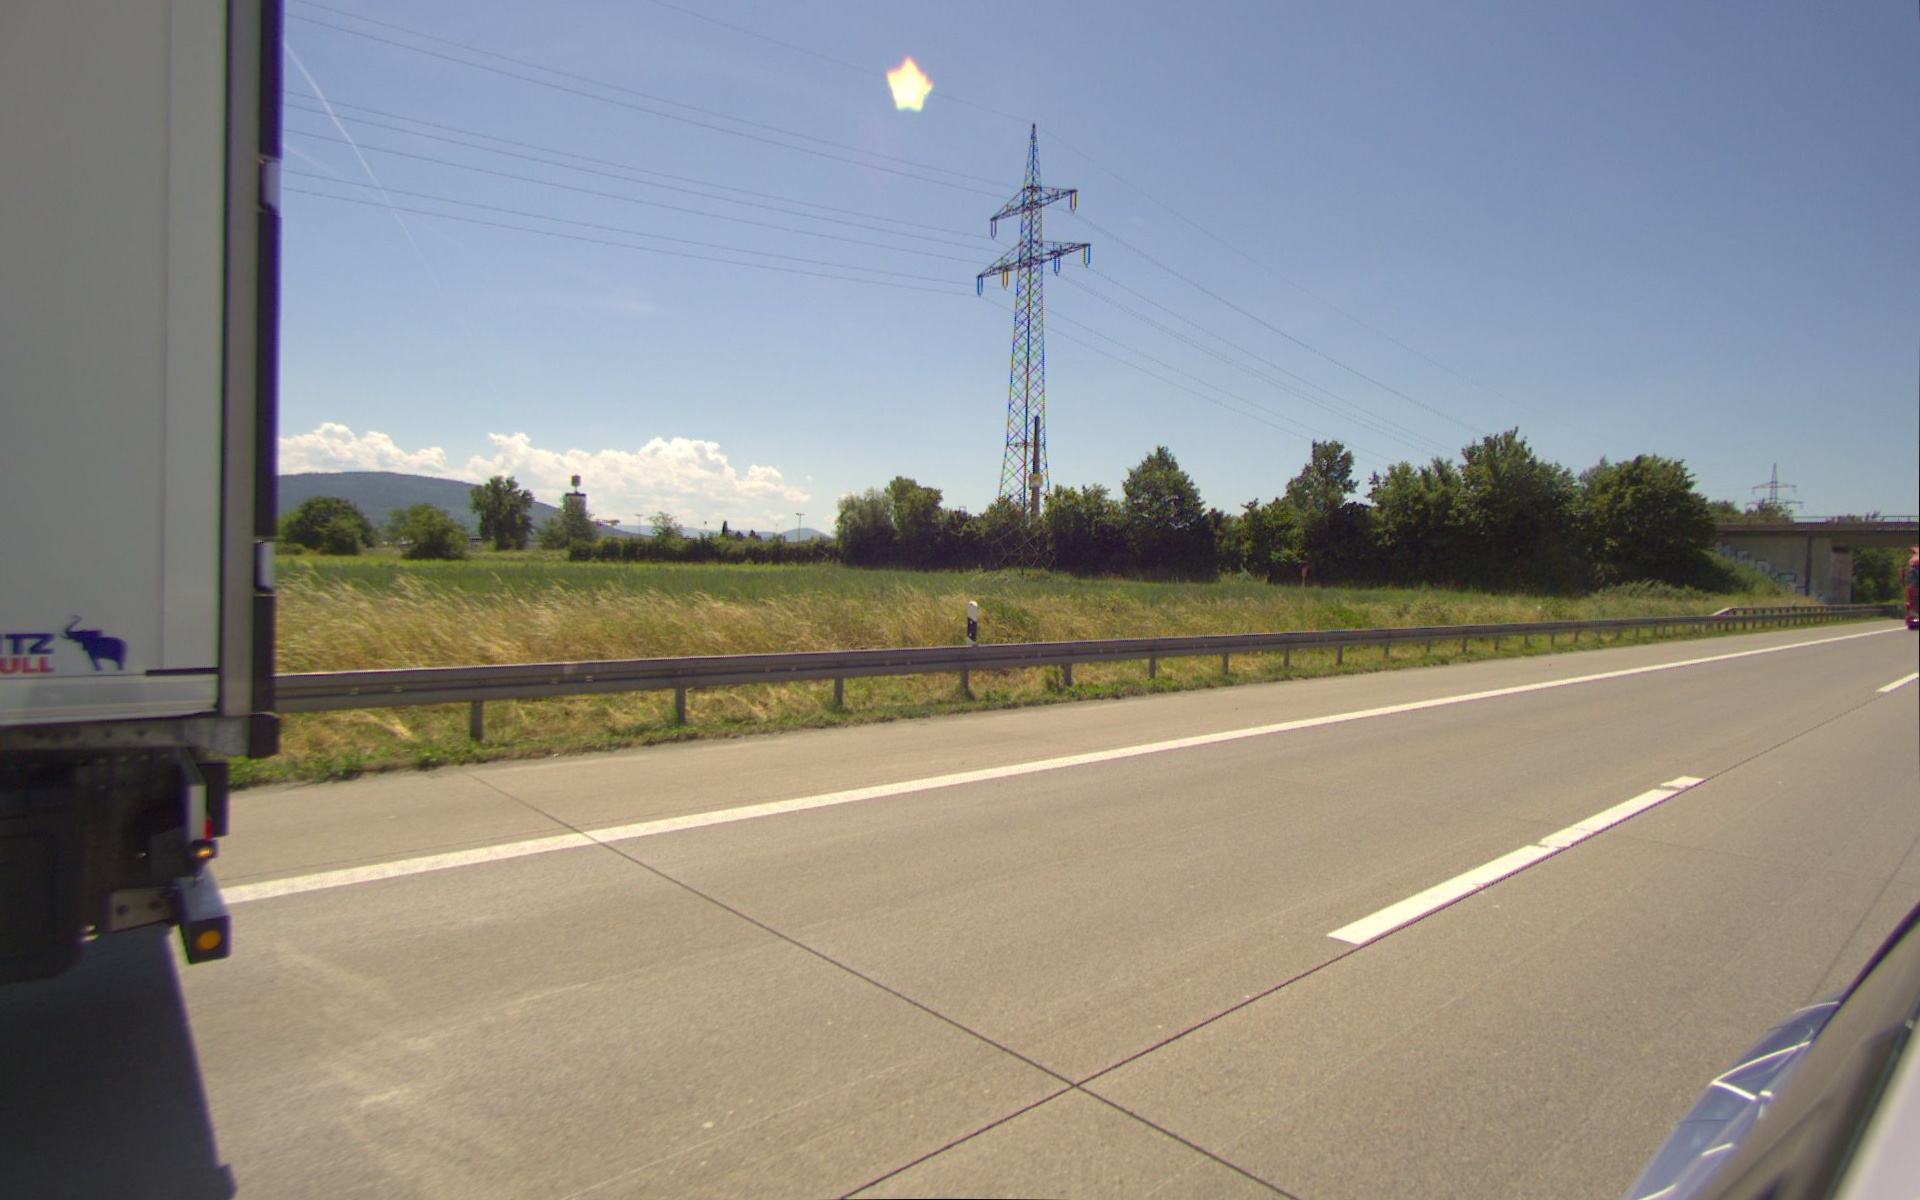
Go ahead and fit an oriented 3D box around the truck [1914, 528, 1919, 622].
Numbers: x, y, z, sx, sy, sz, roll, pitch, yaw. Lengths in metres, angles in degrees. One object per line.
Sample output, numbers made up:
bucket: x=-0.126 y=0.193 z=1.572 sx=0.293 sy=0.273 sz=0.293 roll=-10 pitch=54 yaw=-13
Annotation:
truck: x=49.428 y=-1.192 z=49.606 sx=10.697 sy=4.377 sz=2.853 roll=0 pitch=0 yaw=-41
